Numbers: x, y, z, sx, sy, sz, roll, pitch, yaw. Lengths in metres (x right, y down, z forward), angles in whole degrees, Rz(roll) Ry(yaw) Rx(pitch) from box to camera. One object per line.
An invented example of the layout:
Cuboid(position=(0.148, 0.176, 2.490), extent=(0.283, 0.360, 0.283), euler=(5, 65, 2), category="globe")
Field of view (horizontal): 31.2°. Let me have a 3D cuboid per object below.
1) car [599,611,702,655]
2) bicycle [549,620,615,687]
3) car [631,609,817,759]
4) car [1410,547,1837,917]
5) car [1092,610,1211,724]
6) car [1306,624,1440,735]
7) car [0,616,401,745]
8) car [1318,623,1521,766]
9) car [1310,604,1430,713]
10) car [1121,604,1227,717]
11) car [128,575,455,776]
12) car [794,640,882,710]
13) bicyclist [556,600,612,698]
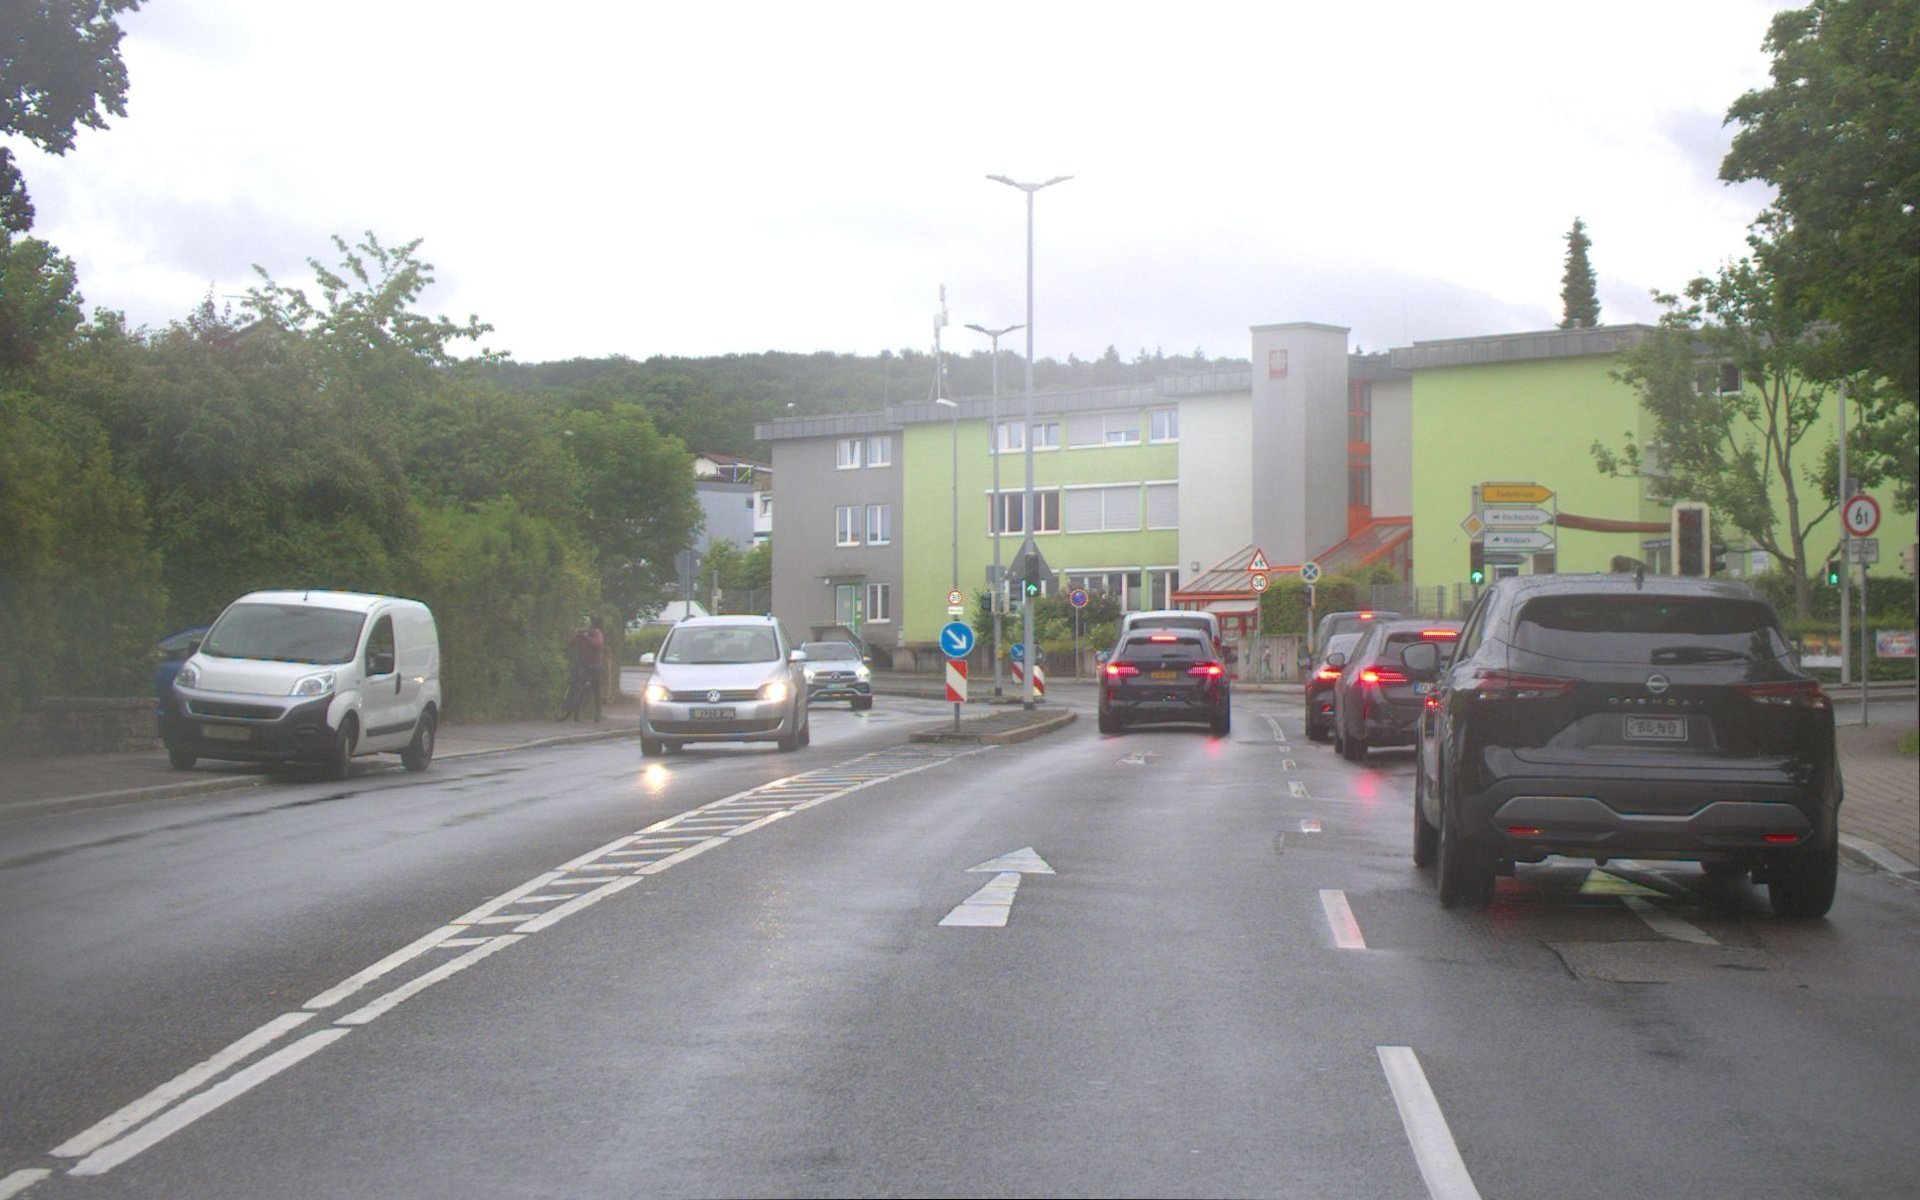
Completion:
Cuboid(position=(-14.056, 1.499, 156.064), extent=(4.393, 1.766, 2.000), euler=(-2, -1, -12), category="car")
Cuboid(position=(-6.269, 0.900, 57.148), extent=(0.747, 1.083, 1.989), euler=(1, -1, 3), category="bicycle")
Cuboid(position=(-2.680, 0.934, 39.872), extent=(1.635, 1.574, 4.057), euler=(-3, 0, 2), category="car")
Cuboid(position=(3.227, 0.552, 17.447), extent=(1.790, 1.598, 4.252), euler=(1, 1, 7), category="car")
Cuboid(position=(2.851, 0.960, 50.677), extent=(1.683, 1.501, 3.773), euler=(1, 1, 4), category="car")
Cuboid(position=(5.545, 1.046, 46.397), extent=(1.707, 1.422, 4.507), euler=(-1, -1, 6), category="car")
Cuboid(position=(-9.172, 0.958, 41.676), extent=(4.482, 1.357, 1.805), euler=(2, 1, -2), category="car")
Cuboid(position=(4.944, 0.994, 37.535), extent=(1.905, 1.454, 4.777), euler=(0, -1, 4), category="car")
Cuboid(position=(7.100, 0.983, 59.793), extent=(1.783, 1.728, 4.086), euler=(2, 0, 4), category="car")
Cuboid(position=(3.625, 1.004, 58.711), extent=(1.717, 1.838, 4.086), euler=(1, 0, 3), category="car")
Cuboid(position=(-6.269, 0.693, 32.673), extent=(1.701, 1.702, 3.977), euler=(3, 0, 9), category="car")
Cuboid(position=(-3.174, 1.940, 89.955), extent=(2.041, 1.710, 4.481), euler=(-1, 0, 1), category="car")
Cuboid(position=(-6.252, 0.822, 57.166), extent=(0.764, 1.606, 0.868), euler=(1, -1, 3), category="bicyclist")
